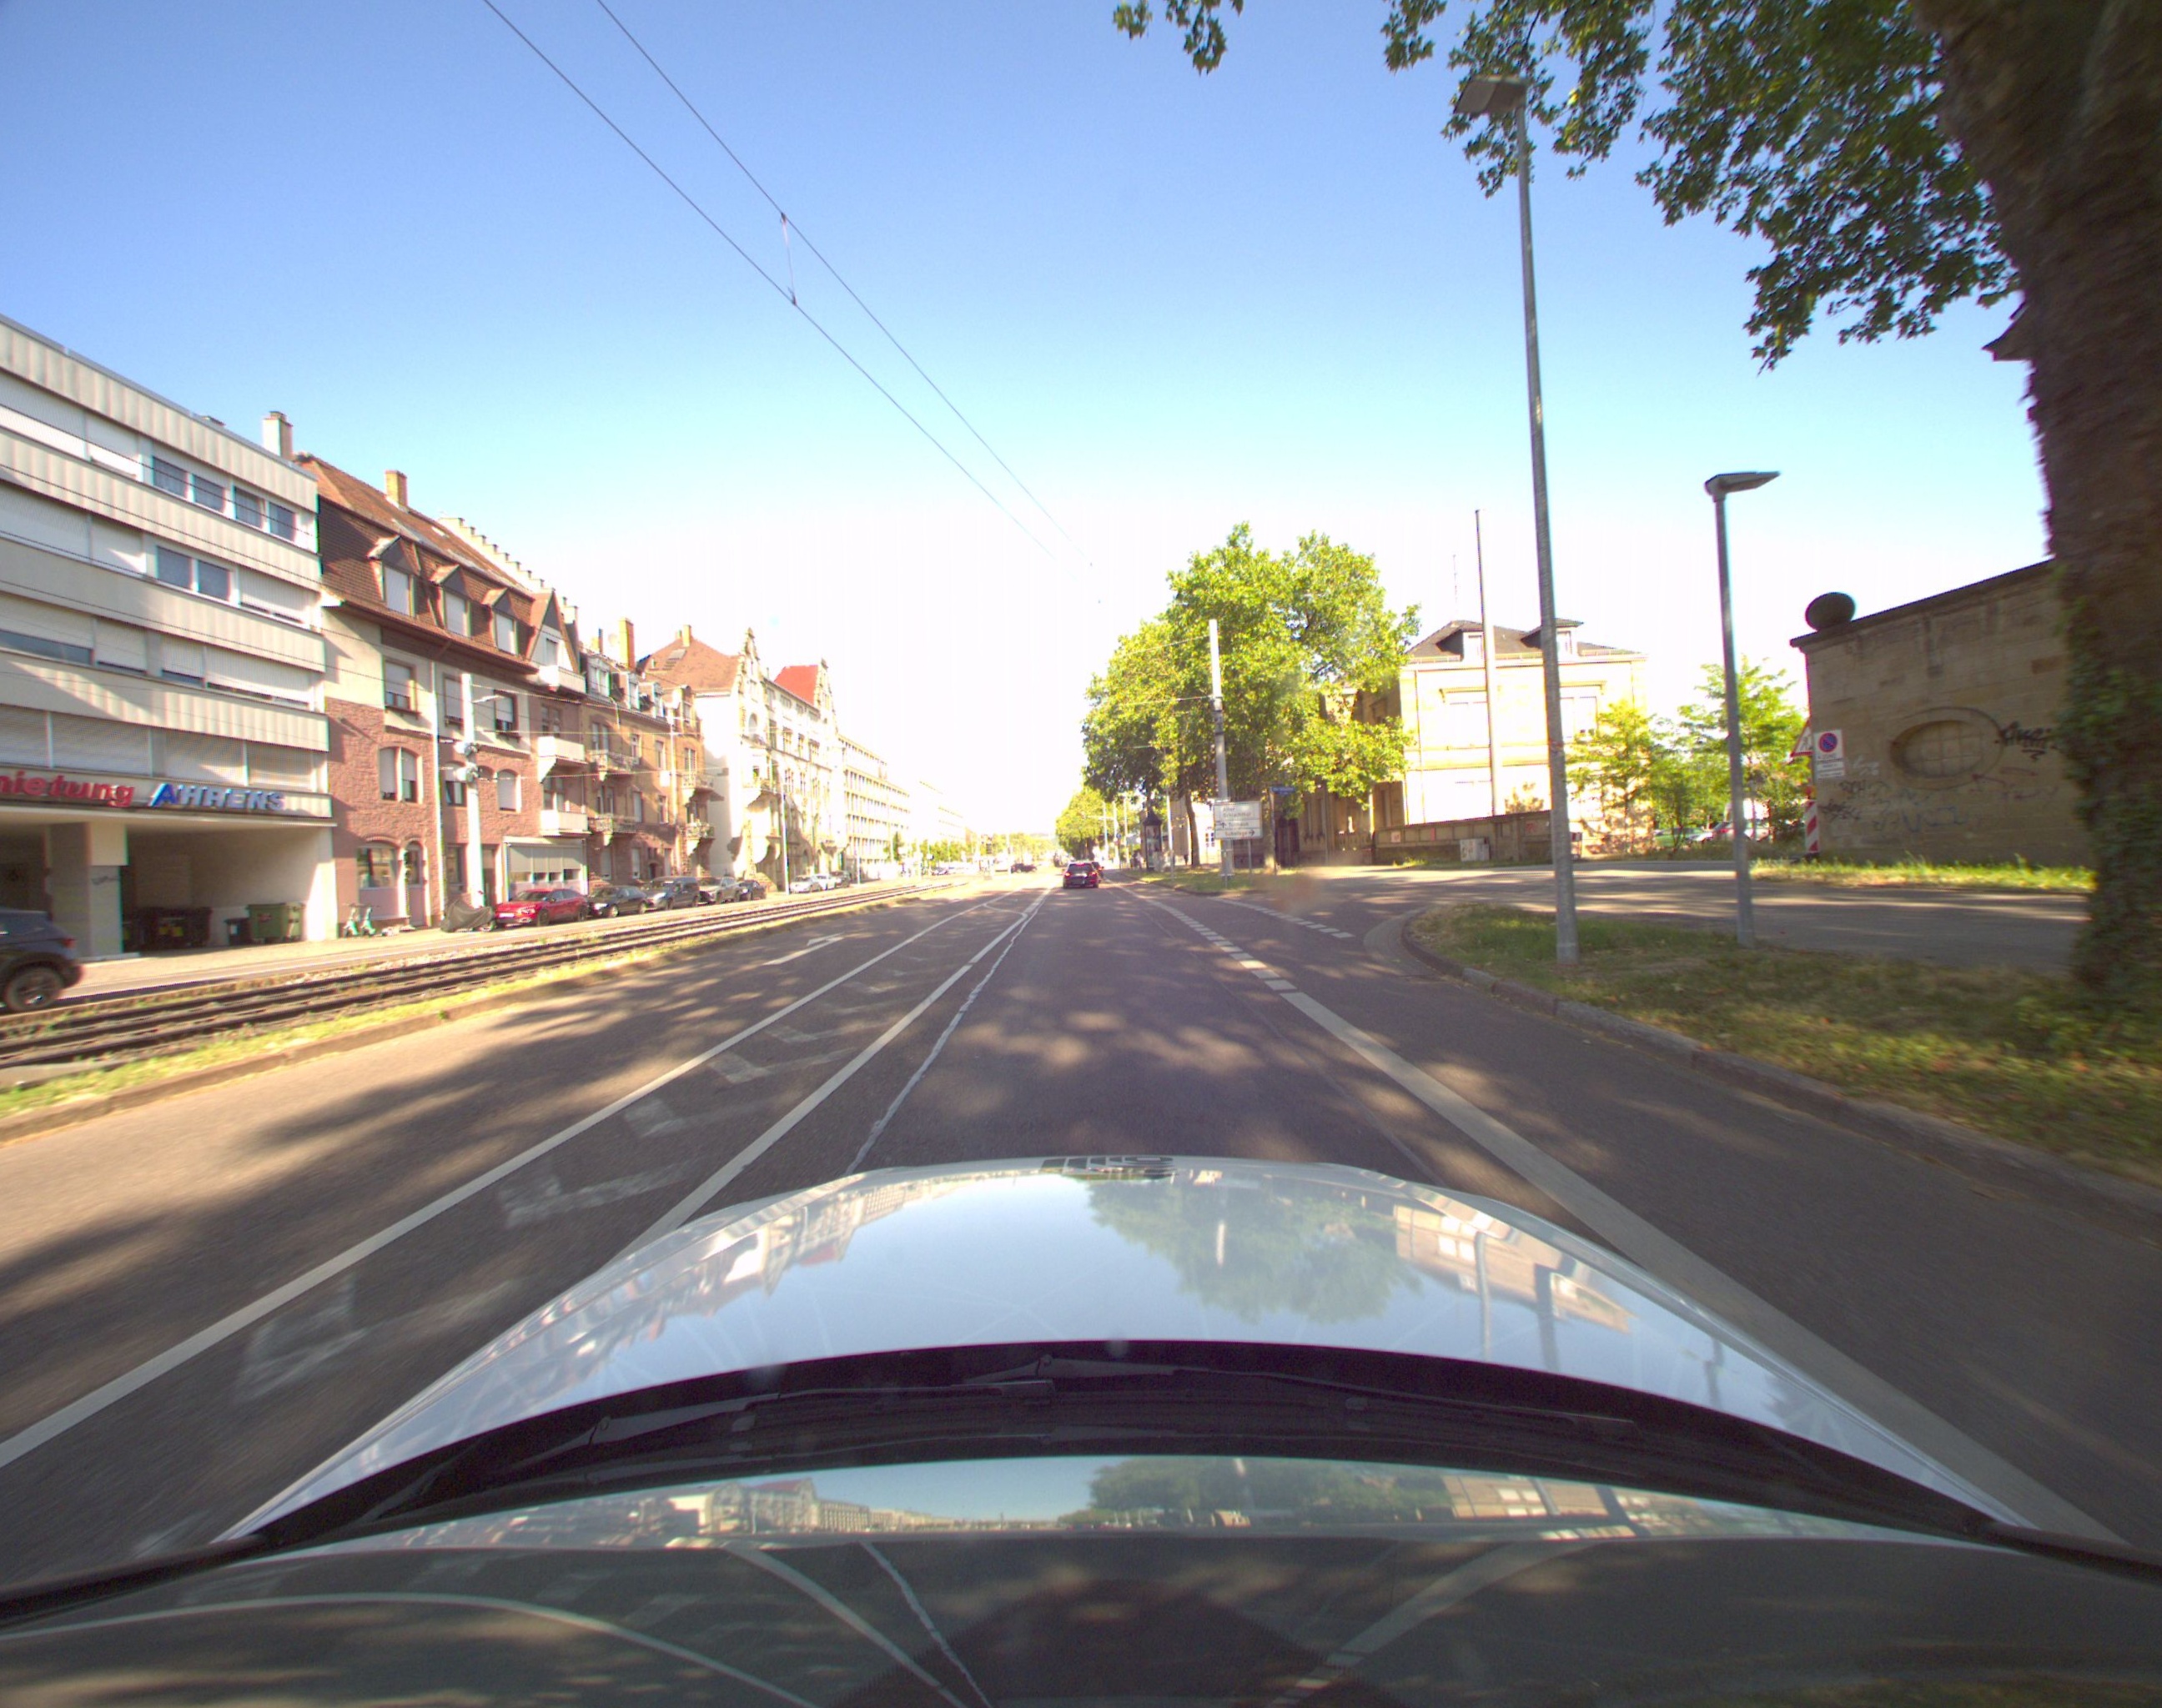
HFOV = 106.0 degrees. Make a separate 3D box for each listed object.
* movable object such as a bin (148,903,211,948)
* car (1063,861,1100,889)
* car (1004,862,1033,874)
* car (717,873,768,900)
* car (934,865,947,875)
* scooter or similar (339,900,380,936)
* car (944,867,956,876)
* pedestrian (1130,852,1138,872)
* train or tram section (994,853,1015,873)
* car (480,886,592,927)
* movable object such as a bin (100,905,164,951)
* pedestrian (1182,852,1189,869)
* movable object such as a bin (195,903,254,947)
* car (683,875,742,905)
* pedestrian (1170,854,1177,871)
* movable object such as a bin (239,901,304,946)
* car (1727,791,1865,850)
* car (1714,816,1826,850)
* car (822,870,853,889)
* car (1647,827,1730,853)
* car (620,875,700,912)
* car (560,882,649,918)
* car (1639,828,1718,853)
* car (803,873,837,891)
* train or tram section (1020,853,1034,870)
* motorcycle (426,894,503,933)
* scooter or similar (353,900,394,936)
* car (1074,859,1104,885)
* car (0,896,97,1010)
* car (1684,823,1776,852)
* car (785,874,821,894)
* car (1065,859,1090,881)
[{"bbox_3d":[-29.937,2.370,27.051,1.265,1.371,0.634,-3,-1,-5],"label":"movable object such as a bin"},{"bbox_3d":[-0.004,1.110,44.130,1.828,1.391,4.156,-3,-1,-1],"label":"car"},{"bbox_3d":[-8.703,1.940,114.494,1.777,1.510,4.025,-2,-2,38],"label":"car"},{"bbox_3d":[-22.614,2.160,54.514,1.681,1.652,4.197,0,-1,-1],"label":"car"},{"bbox_3d":[-24.828,2.796,144.135,1.790,1.510,3.995,-3,0,-3],"label":"car"},{"bbox_3d":[-25.590,2.255,28.892,0.390,1.205,1.200,0,-1,0],"label":"scooter or similar"},{"bbox_3d":[-24.250,3.252,150.797,1.790,1.510,3.995,-3,0,-3],"label":"car"},{"bbox_3d":[4.798,0.698,73.204,0.584,1.728,0.652,-1,0,12],"label":"pedestrian"},{"bbox_3d":[-14.439,1.657,154.341,2.817,3.451,9.060,-3,0,0],"label":"train or tram section"},{"bbox_3d":[-22.216,2.103,33.409,1.789,1.460,4.263,0,-1,-2],"label":"car"},{"bbox_3d":[-31.273,2.433,26.844,1.263,1.371,0.635,-3,-1,-1],"label":"movable object such as a bin"},{"bbox_3d":[10.765,0.647,84.008,0.584,1.728,0.652,-2,0,14],"label":"pedestrian"},{"bbox_3d":[-28.445,2.342,27.063,1.192,1.371,0.633,-2,-1,-8],"label":"movable object such as a bin"},{"bbox_3d":[-22.281,2.126,49.355,1.681,1.652,4.197,0,-1,-1],"label":"car"},{"bbox_3d":[9.562,0.838,84.136,0.584,1.728,0.652,-1,0,12],"label":"pedestrian"},{"bbox_3d":[-27.061,2.309,27.239,1.410,1.371,0.633,-2,-1,-8],"label":"movable object such as a bin"},{"bbox_3d":[39.030,-1.772,44.633,5.296,2.807,1.809,-3,-2,21],"label":"car"},{"bbox_3d":[36.050,-1.079,42.723,4.079,1.510,1.809,-3,-2,21],"label":"car"},{"bbox_3d":[-23.201,2.385,77.681,1.789,1.719,4.181,0,-1,-2],"label":"car"},{"bbox_3d":[40.924,-0.936,54.941,4.079,1.510,1.809,-3,-2,21],"label":"car"},{"bbox_3d":[-22.157,2.040,43.078,1.787,1.754,4.457,0,-1,2],"label":"car"},{"bbox_3d":[-22.189,2.118,38.112,1.789,1.510,3.998,0,-1,-1],"label":"car"},{"bbox_3d":[41.876,-0.912,57.188,4.079,1.510,1.809,-3,-2,21],"label":"car"},{"bbox_3d":[-23.075,2.443,72.113,1.789,1.510,4.181,0,-1,-2],"label":"car"},{"bbox_3d":[-12.312,1.722,185.905,2.818,3.451,9.055,-3,0,-2],"label":"train or tram section"},{"bbox_3d":[-22.508,2.167,29.770,2.072,1.327,0.836,0,-1,-17],"label":"motorcycle"},{"bbox_3d":[-25.026,2.251,28.833,0.390,1.205,1.200,0,-1,0],"label":"scooter or similar"},{"bbox_3d":[0.502,1.163,53.404,1.789,1.510,3.999,-3,-1,0],"label":"car"},{"bbox_3d":[-16.420,1.513,10.822,1.631,1.601,4.154,-4,0,-3],"label":"car"},{"bbox_3d":[40.283,-1.013,50.655,4.079,1.510,1.809,-3,-2,21],"label":"car"},{"bbox_3d":[-22.703,2.409,66.638,1.791,1.510,3.993,0,-1,-5],"label":"car"},{"bbox_3d":[-0.256,1.234,62.492,1.789,1.510,3.999,-3,-1,0],"label":"car"}]
